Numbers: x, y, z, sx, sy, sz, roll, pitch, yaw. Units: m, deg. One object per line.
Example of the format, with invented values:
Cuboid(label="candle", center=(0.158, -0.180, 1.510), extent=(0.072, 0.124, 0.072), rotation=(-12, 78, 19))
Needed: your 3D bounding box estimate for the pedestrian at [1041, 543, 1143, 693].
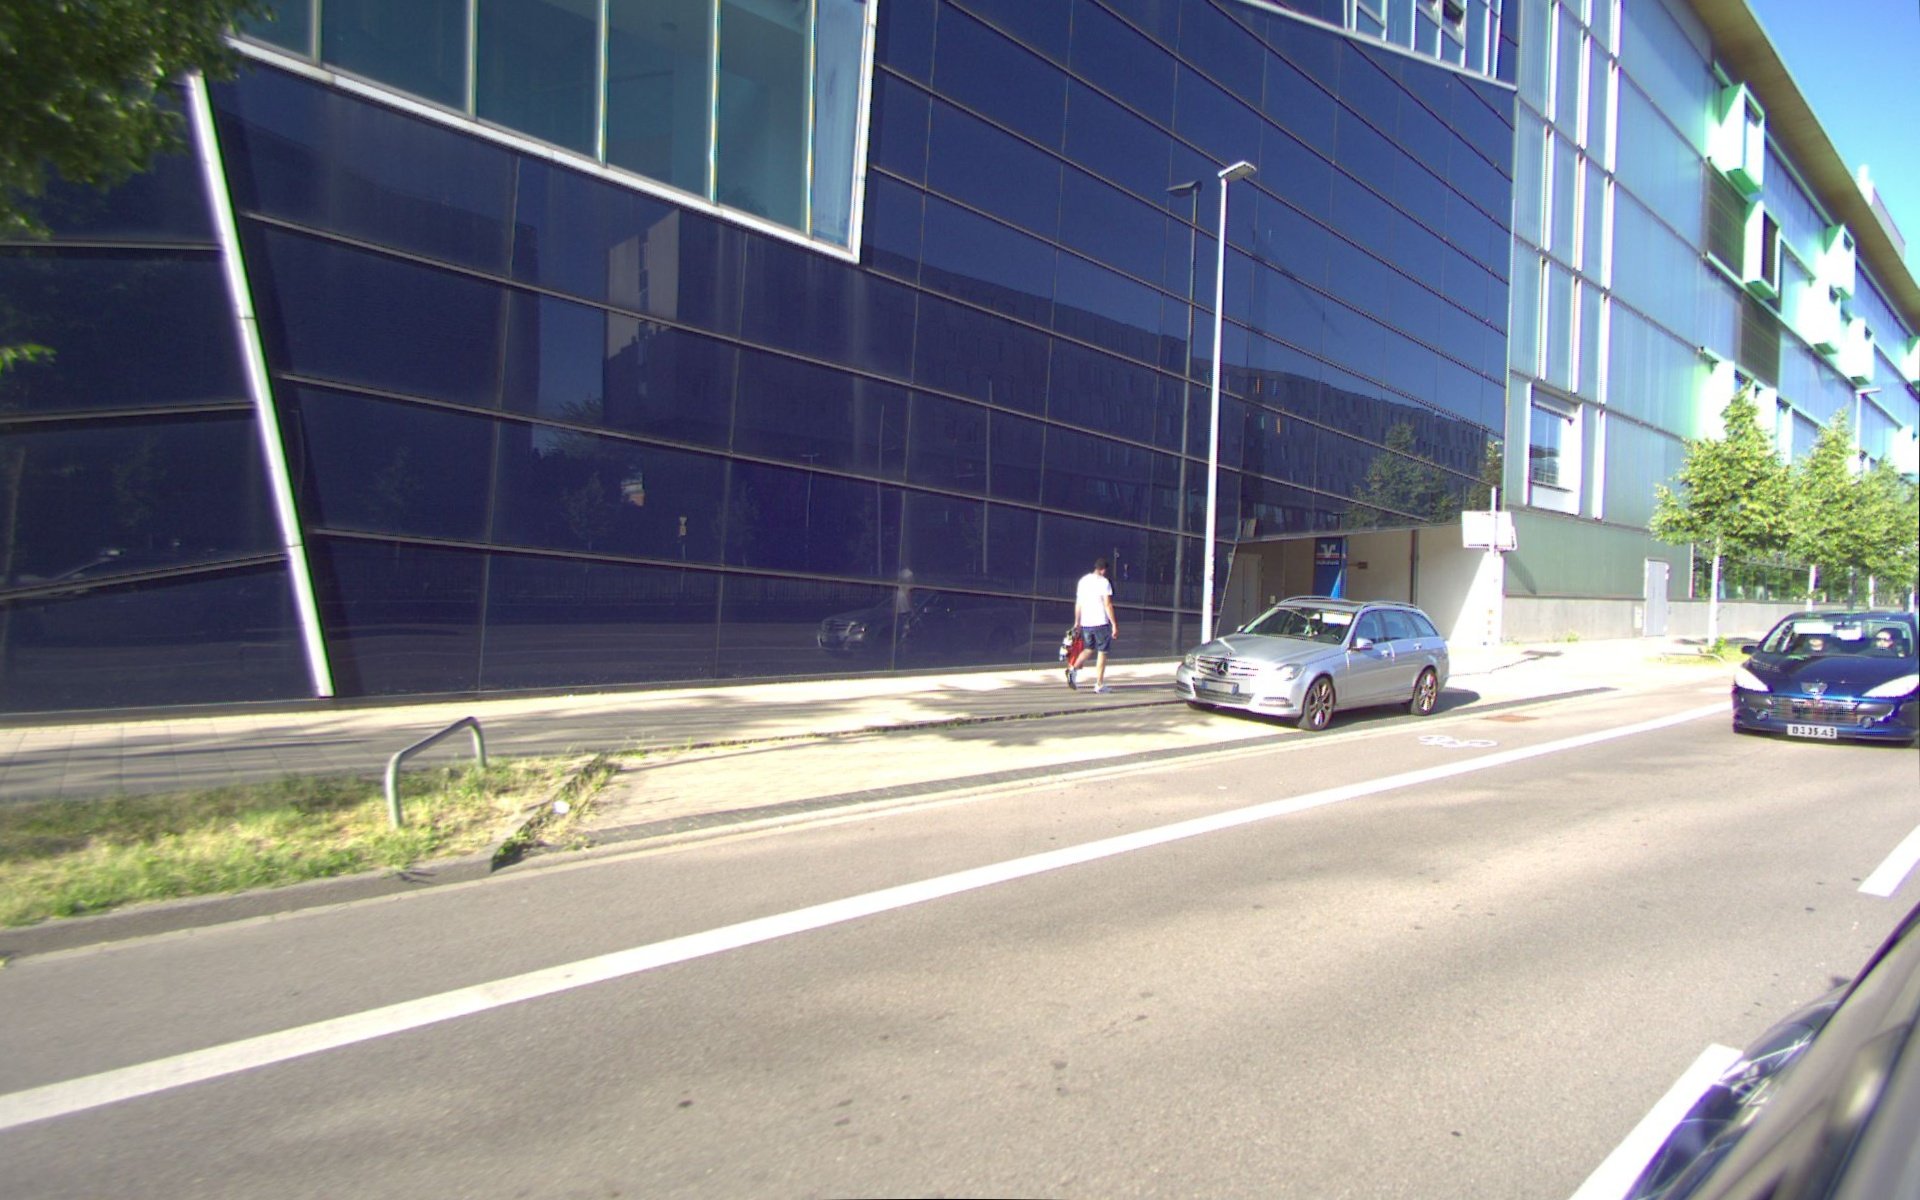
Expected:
Cuboid(label="pedestrian", center=(1.727, 0.207, 13.276), extent=(0.889, 1.846, 0.829), rotation=(1, 4, -41))

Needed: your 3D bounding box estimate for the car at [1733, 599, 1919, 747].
Cuboid(label="car", center=(10.882, 0.752, 12.190), extent=(3.902, 1.497, 1.752), rotation=(0, 0, -41))

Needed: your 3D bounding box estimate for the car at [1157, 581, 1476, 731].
Cuboid(label="car", center=(4.699, 0.594, 12.979), extent=(4.632, 1.516, 1.739), rotation=(0, 3, -41))
